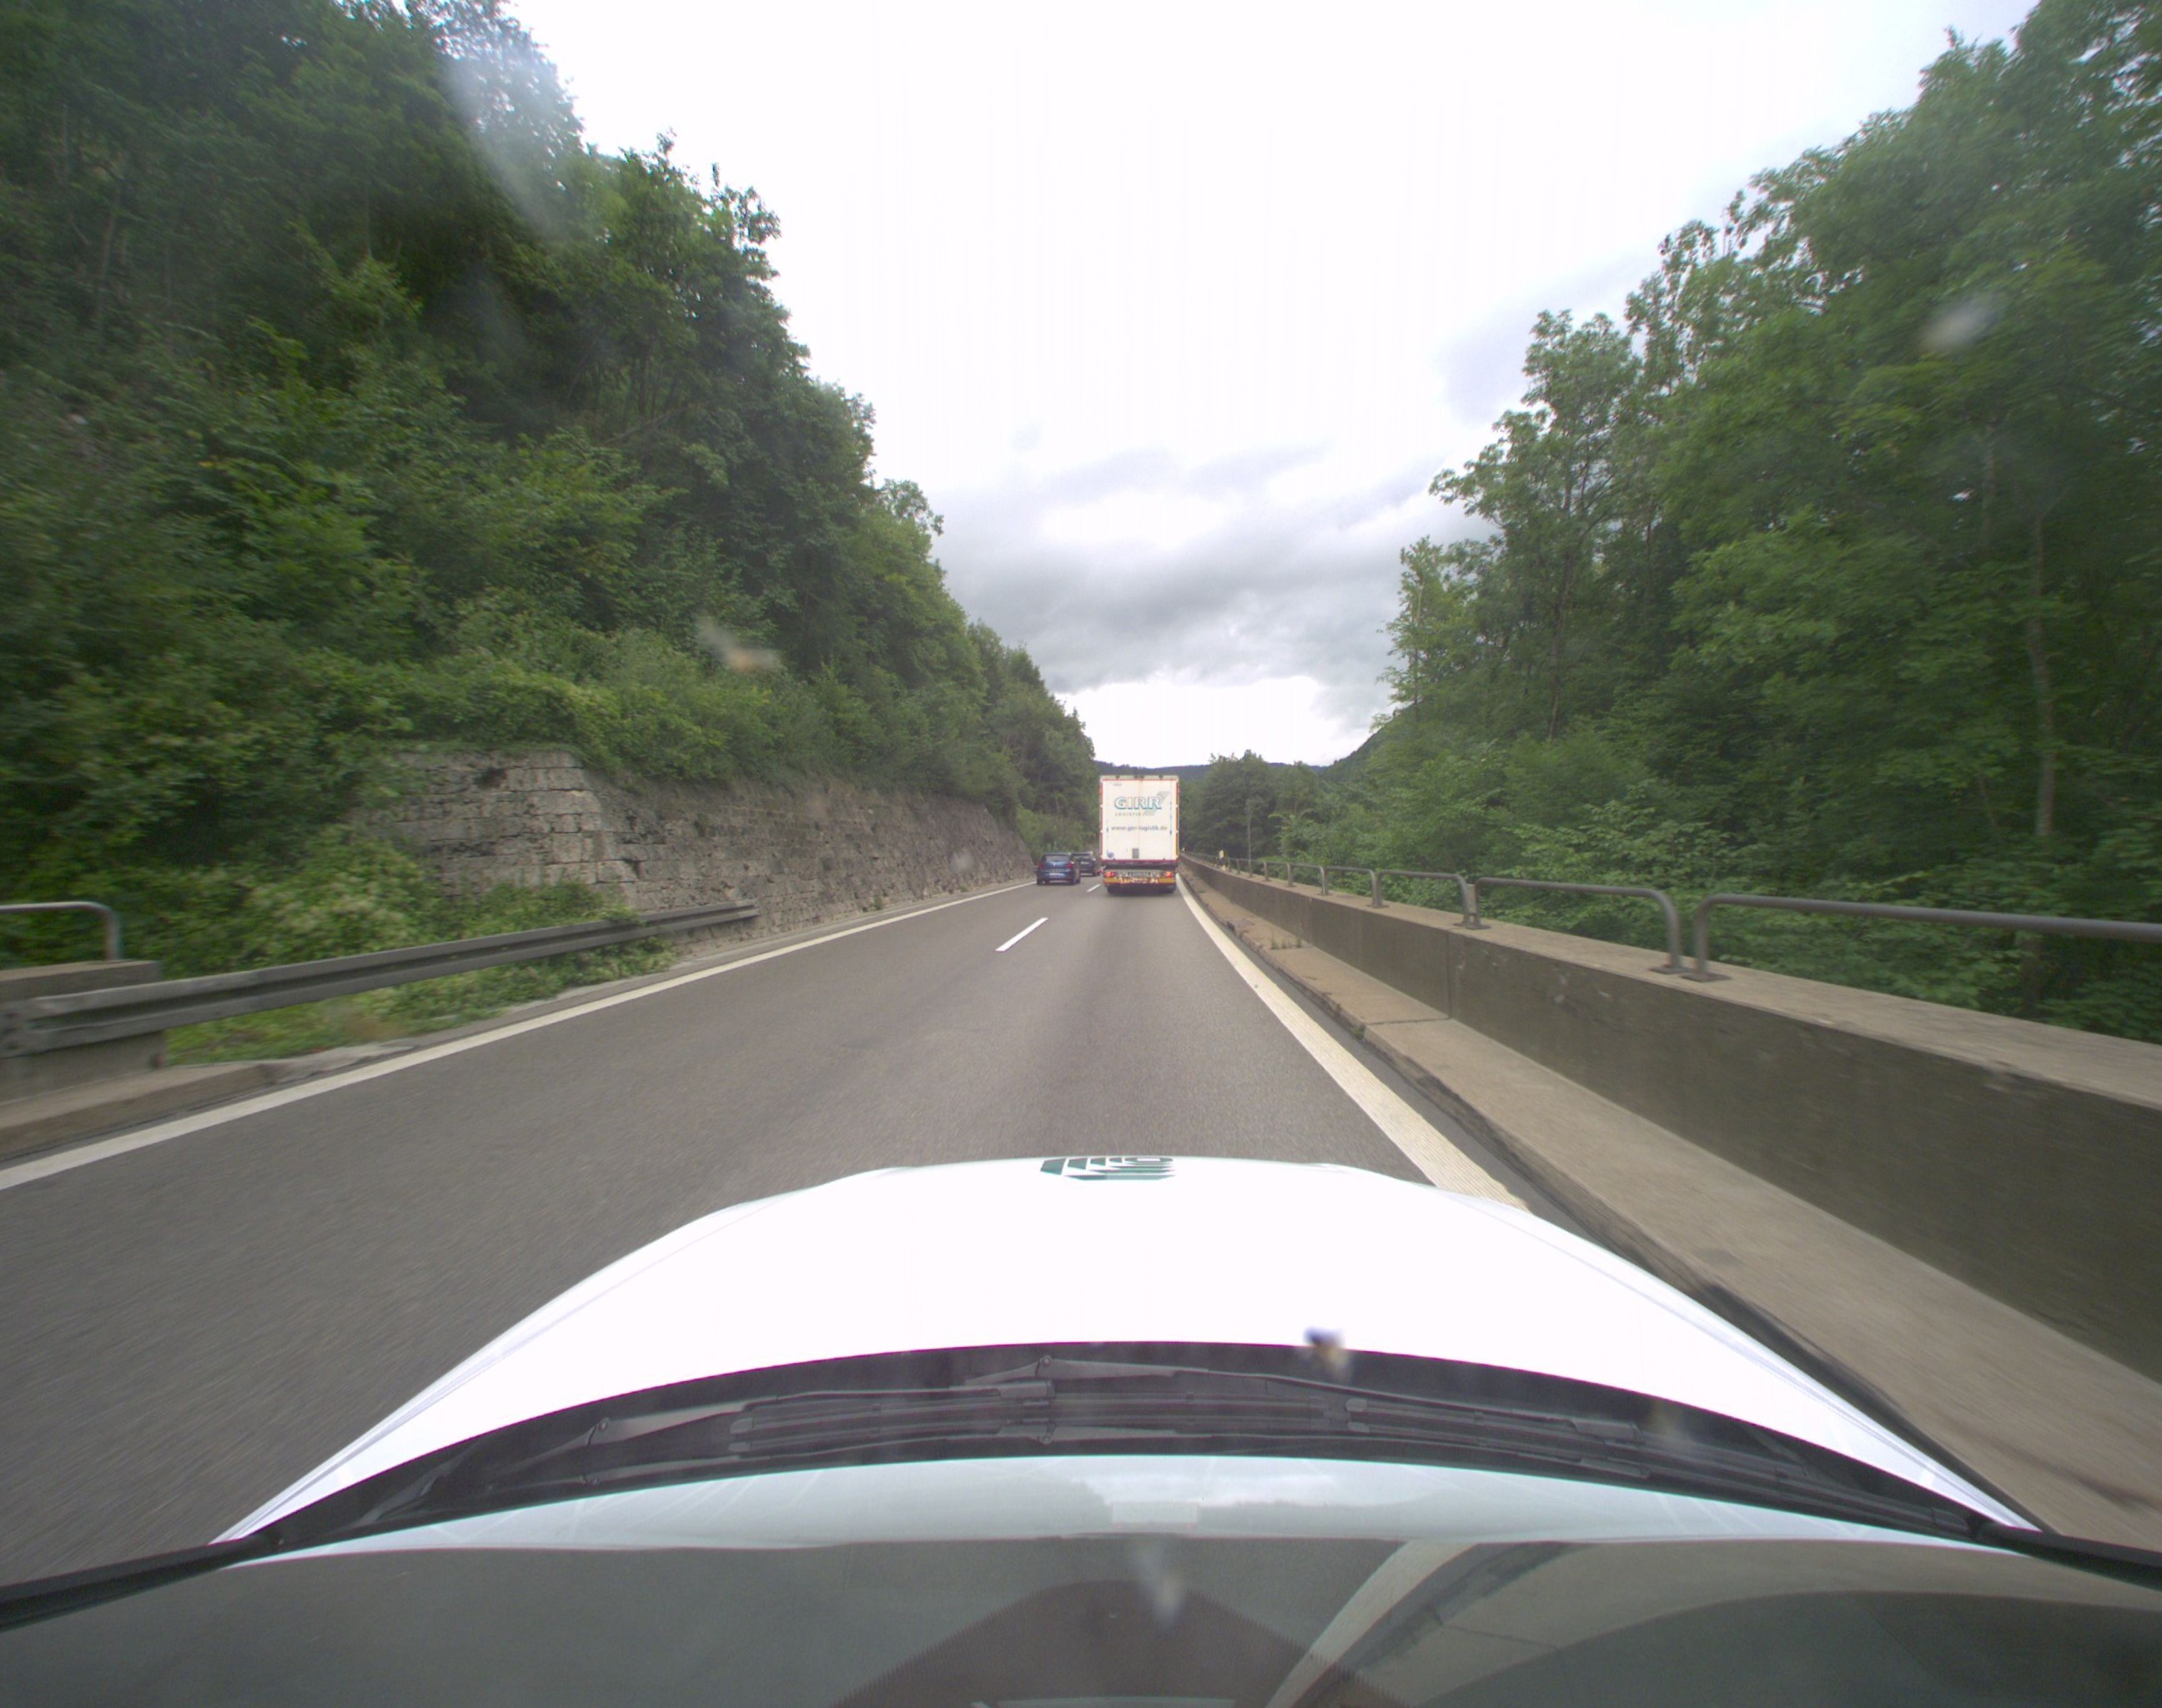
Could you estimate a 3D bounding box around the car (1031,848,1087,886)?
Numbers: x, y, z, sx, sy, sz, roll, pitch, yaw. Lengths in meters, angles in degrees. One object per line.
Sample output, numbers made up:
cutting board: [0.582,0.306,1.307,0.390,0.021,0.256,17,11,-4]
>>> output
car: [-0.913,0.535,36.796,1.983,1.596,4.361,-1,0,6]

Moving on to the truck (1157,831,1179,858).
truck: [12.570,-1.283,116.973,2.955,3.765,10.382,-1,0,7]

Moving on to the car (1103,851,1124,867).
car: [3.137,0.529,77.878,1.737,1.486,4.005,-1,-1,5]

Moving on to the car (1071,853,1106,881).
car: [0.505,0.751,47.683,1.737,1.587,4.005,-1,-1,5]

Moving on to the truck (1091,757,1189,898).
truck: [2.550,-0.865,33.583,3.070,4.464,15.176,0,0,5]
